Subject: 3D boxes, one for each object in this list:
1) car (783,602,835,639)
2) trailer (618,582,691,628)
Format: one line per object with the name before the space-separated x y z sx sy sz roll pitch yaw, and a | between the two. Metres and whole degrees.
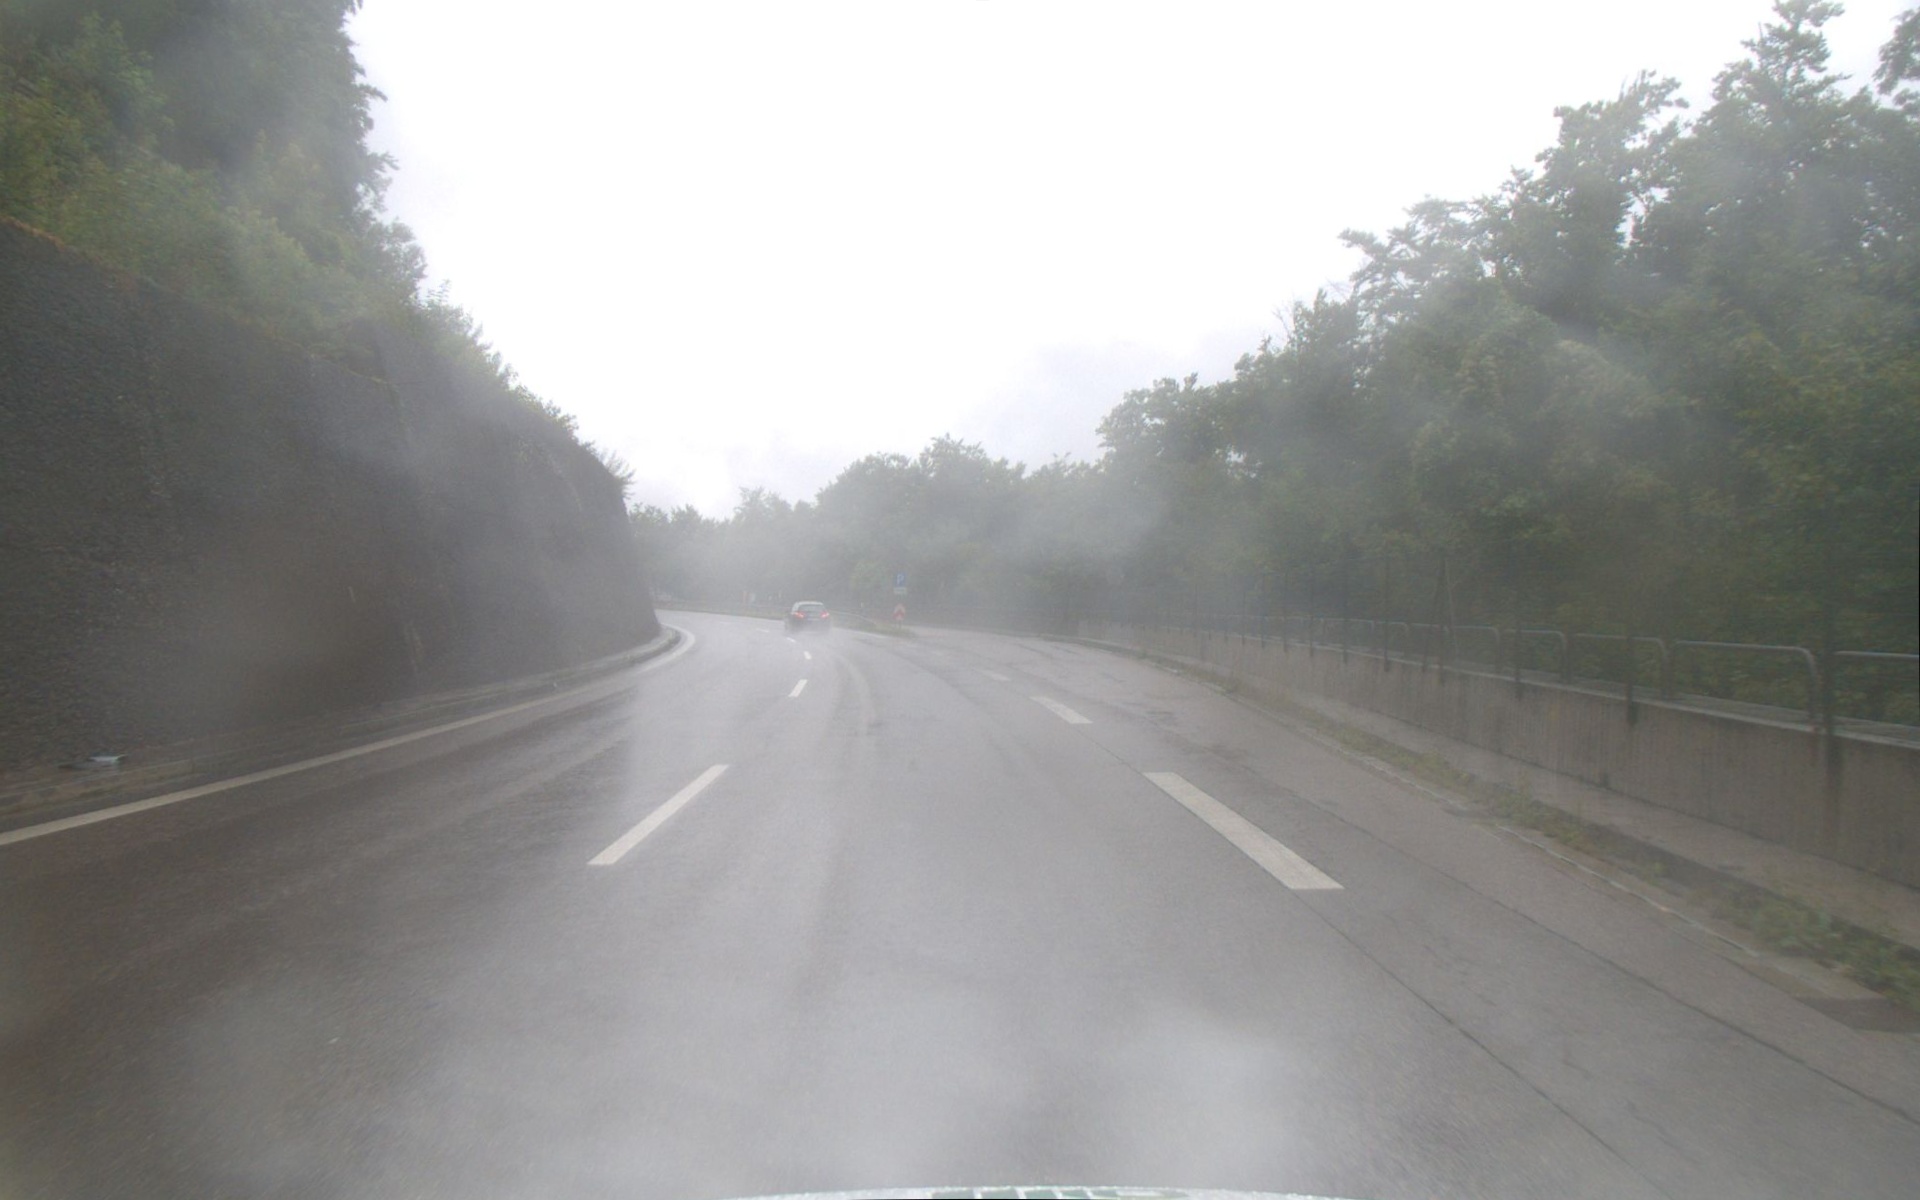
car | -6.925 0.910 75.455 1.870 1.525 3.989 3 -1 -11
trailer | -31.148 0.441 167.939 2.860 4.319 14.558 2 0 -29
